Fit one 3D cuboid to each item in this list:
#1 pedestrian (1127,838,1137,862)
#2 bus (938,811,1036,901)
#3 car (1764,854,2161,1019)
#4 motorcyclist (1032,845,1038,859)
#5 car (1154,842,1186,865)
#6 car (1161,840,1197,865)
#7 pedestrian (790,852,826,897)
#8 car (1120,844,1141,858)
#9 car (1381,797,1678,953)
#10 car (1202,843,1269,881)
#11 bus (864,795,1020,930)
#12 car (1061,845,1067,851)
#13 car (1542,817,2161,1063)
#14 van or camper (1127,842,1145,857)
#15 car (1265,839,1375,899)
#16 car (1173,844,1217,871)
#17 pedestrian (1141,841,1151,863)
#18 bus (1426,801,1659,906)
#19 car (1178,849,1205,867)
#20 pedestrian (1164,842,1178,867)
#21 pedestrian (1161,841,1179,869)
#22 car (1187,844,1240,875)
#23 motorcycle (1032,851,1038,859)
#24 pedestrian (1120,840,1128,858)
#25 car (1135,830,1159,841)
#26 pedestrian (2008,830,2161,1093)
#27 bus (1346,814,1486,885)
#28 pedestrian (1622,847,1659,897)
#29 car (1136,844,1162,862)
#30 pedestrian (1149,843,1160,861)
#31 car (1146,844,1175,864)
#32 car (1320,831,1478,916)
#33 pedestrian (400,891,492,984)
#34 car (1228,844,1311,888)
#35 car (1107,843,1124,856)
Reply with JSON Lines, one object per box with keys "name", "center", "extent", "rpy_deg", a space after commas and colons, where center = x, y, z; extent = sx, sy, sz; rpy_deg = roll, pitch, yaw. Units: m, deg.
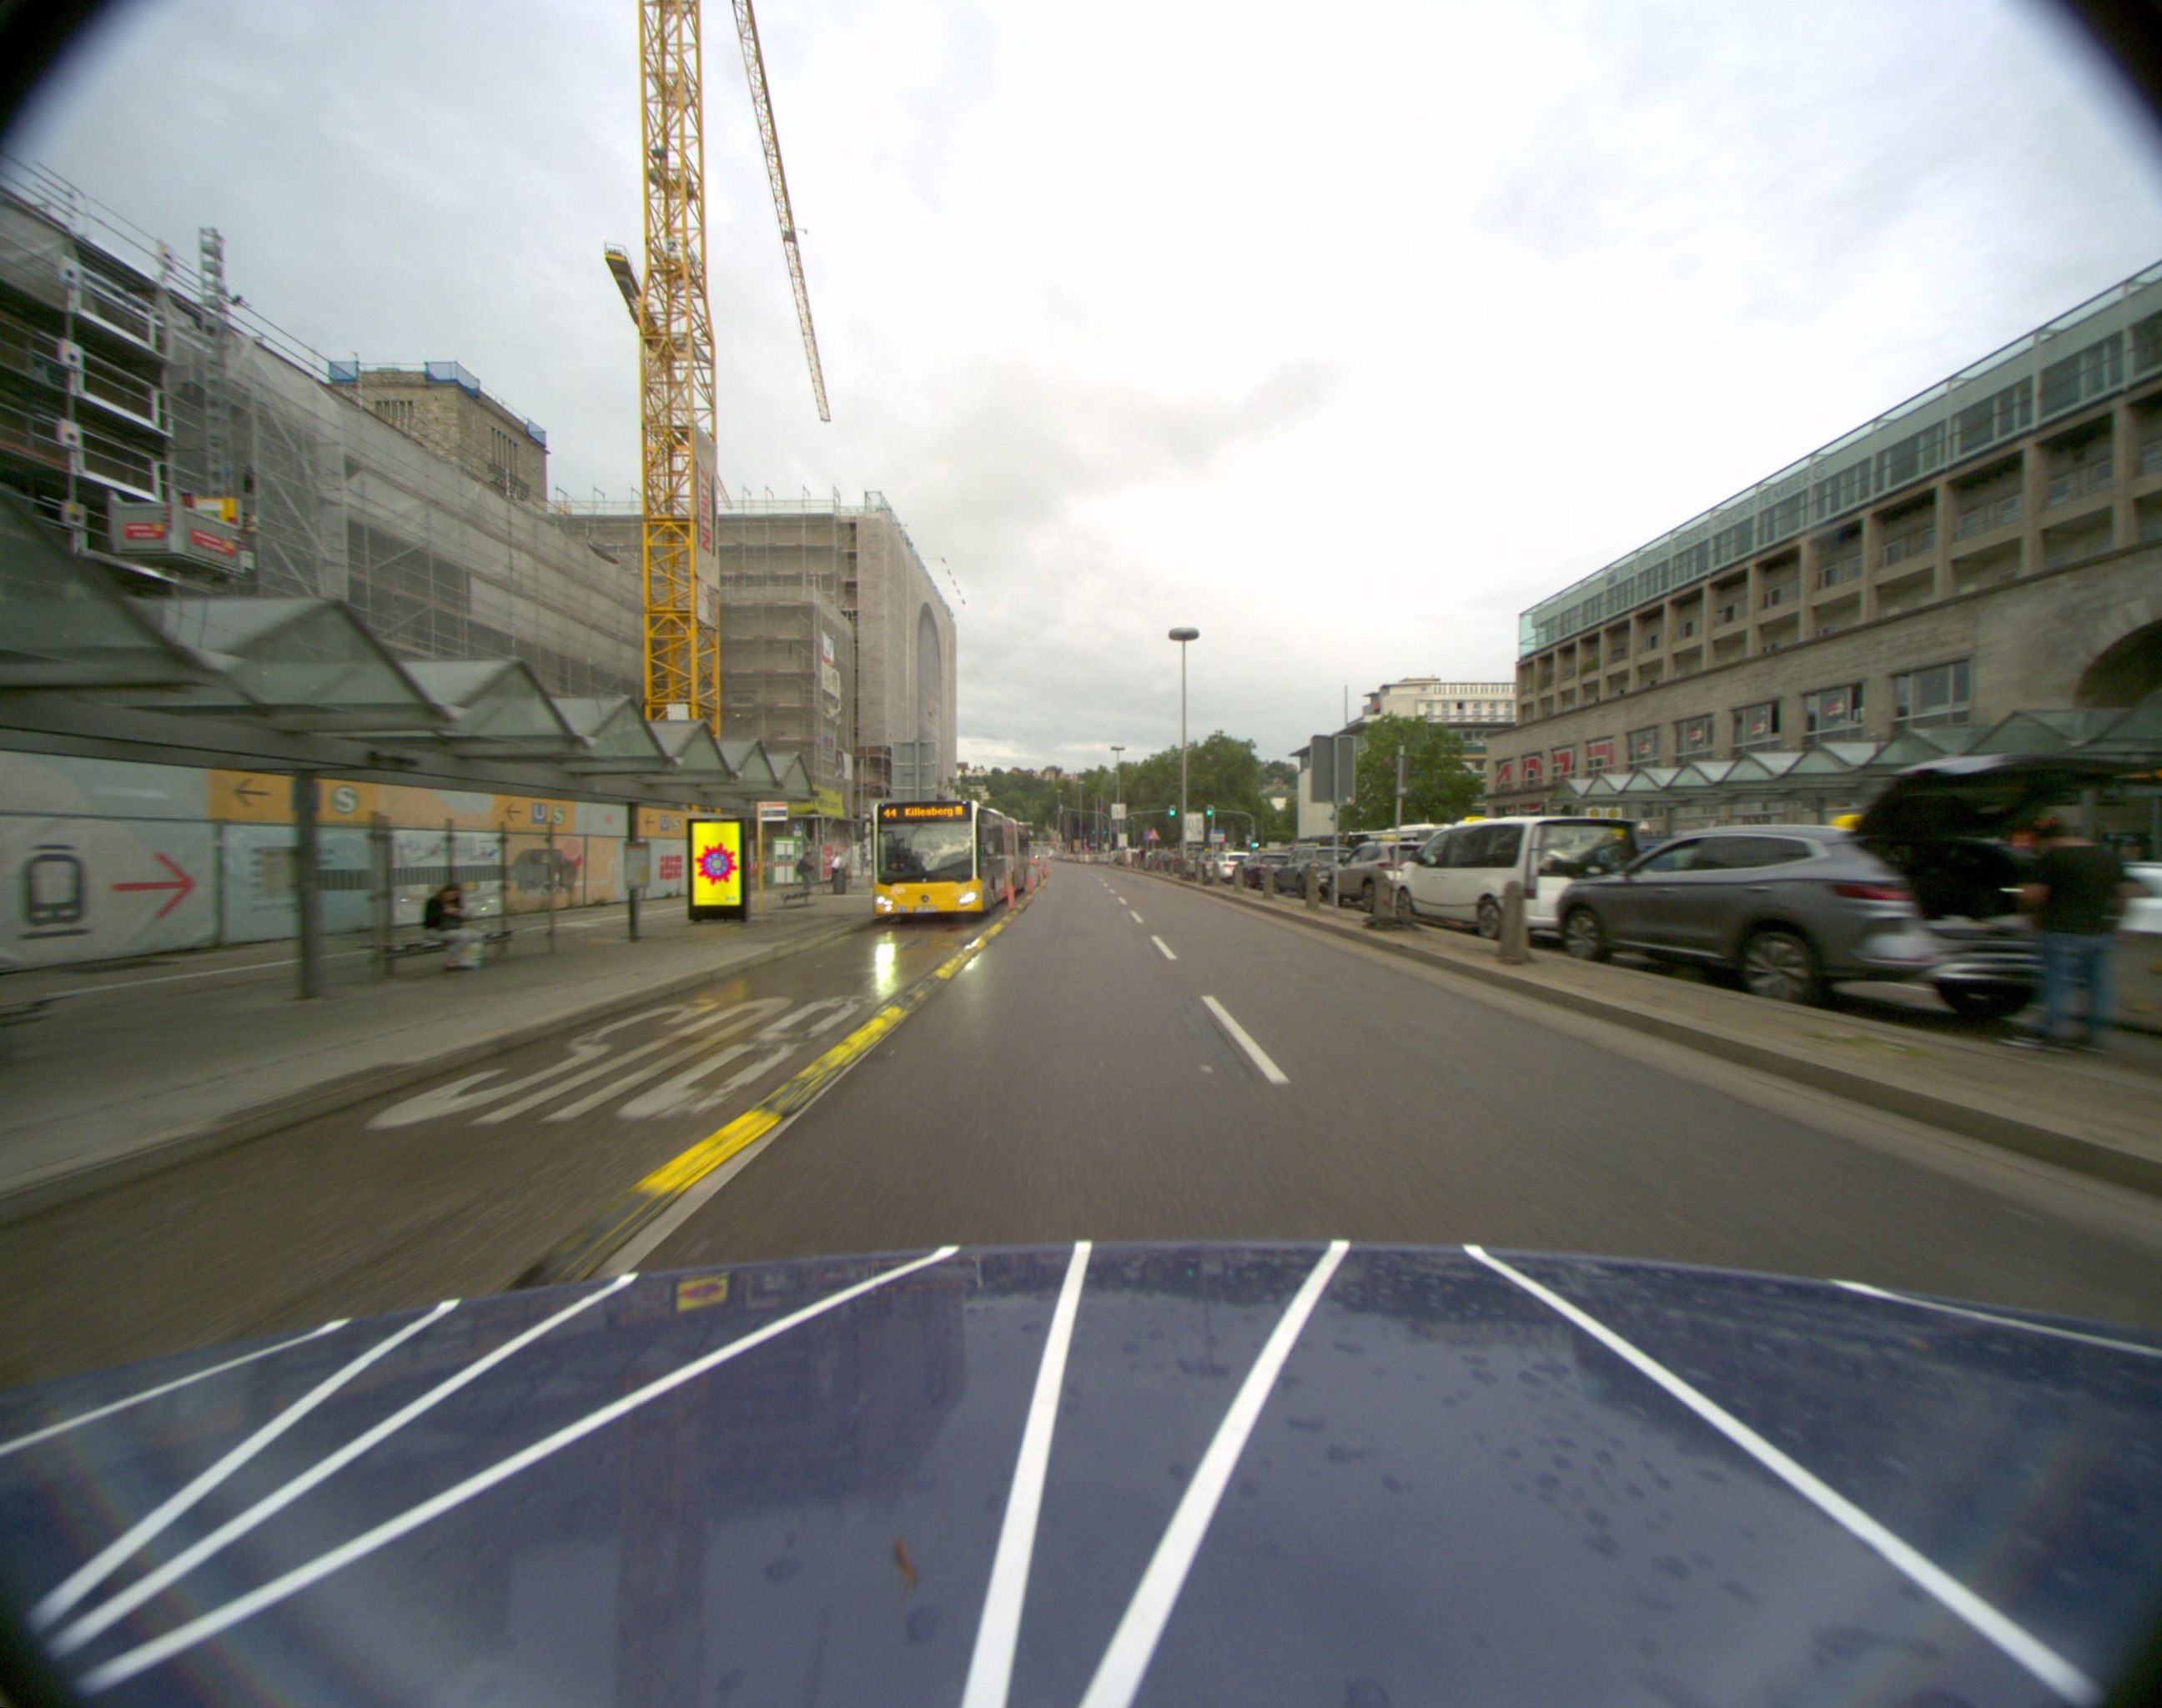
{"name": "pedestrian", "center": [4.232, -0.314, 63.433], "extent": [0.725, 1.996, 0.772], "rpy_deg": [-2, 1, -1]}
{"name": "bus", "center": [-3.543, 0.005, 31.078], "extent": [2.762, 3.051, 9.078], "rpy_deg": [-2, 1, 0]}
{"name": "car", "center": [11.245, 0.814, 8.971], "extent": [1.967, 1.555, 4.835], "rpy_deg": [2, 0, 0]}
{"name": "motorcyclist", "center": [-6.634, -0.263, 109.442], "extent": [0.726, 2.024, 0.587], "rpy_deg": [0, 0, -7]}
{"name": "car", "center": [7.045, -0.074, 60.634], "extent": [1.935, 1.681, 4.681], "rpy_deg": [1, 1, -1]}
{"name": "car", "center": [7.088, -0.124, 55.480], "extent": [1.935, 1.681, 4.681], "rpy_deg": [1, 1, -1]}
{"name": "pedestrian", "center": [-10.230, 0.754, 28.483], "extent": [0.907, 1.626, 0.829], "rpy_deg": [0, 1, 27]}
{"name": "car", "center": [6.012, -0.345, 92.564], "extent": [1.908, 1.689, 4.498], "rpy_deg": [-2, 0, -3]}
{"name": "car", "center": [7.327, 0.277, 13.339], "extent": [1.998, 2.166, 5.543], "rpy_deg": [0, 1, 1]}
{"name": "car", "center": [7.215, 0.330, 36.072], "extent": [1.981, 1.650, 5.191], "rpy_deg": [1, 1, -1]}
{"name": "bus", "center": [-3.560, 0.127, 22.022], "extent": [2.762, 3.048, 8.991], "rpy_deg": [-2, 1, 0]}
{"name": "car", "center": [-4.486, -1.512, 201.734], "extent": [1.682, 1.533, 3.173], "rpy_deg": [0, -1, 0]}
{"name": "car", "center": [7.079, 0.584, 7.688], "extent": [1.998, 1.712, 4.782], "rpy_deg": [0, 1, 1]}
{"name": "van or camper", "center": [9.616, -0.777, 132.277], "extent": [2.000, 2.499, 5.366], "rpy_deg": [2, 0, -7]}
{"name": "car", "center": [7.471, 0.394, 24.322], "extent": [1.934, 1.689, 4.884], "rpy_deg": [1, 1, 0]}
{"name": "car", "center": [7.280, 0.185, 48.918], "extent": [1.935, 1.567, 5.259], "rpy_deg": [1, 1, -1]}
{"name": "pedestrian", "center": [5.354, -0.177, 62.537], "extent": [0.700, 1.744, 0.711], "rpy_deg": [-1, 1, -1]}
{"name": "bus", "center": [17.651, -0.062, 30.367], "extent": [2.884, 3.440, 10.572], "rpy_deg": [-1, 1, 0]}
{"name": "car", "center": [10.962, 0.331, 75.700], "extent": [1.935, 1.681, 4.681], "rpy_deg": [1, 1, -1]}
{"name": "pedestrian", "center": [5.875, 0.012, 49.536], "extent": [0.724, 1.597, 0.996], "rpy_deg": [-2, 1, -1]}
{"name": "pedestrian", "center": [5.640, 0.080, 48.124], "extent": [1.053, 1.758, 0.616], "rpy_deg": [-1, 1, -1]}
{"name": "car", "center": [7.295, 0.275, 42.223], "extent": [1.935, 1.567, 5.010], "rpy_deg": [1, 1, -1]}
{"name": "motorcycle", "center": [-6.635, 0.160, 109.504], "extent": [0.730, 1.221, 2.159], "rpy_deg": [0, -1, -7]}
{"name": "pedestrian", "center": [4.109, -0.489, 72.725], "extent": [0.653, 1.701, 0.593], "rpy_deg": [-2, 1, -2]}
{"name": "car", "center": [13.873, -3.879, 160.185], "extent": [4.830, 2.002, 2.036], "rpy_deg": [-2, 0, 1]}
{"name": "pedestrian", "center": [7.086, 0.666, 5.105], "extent": [0.762, 1.643, 0.763], "rpy_deg": [0, 1, 1]}
{"name": "bus", "center": [17.562, -0.245, 40.952], "extent": [2.884, 3.357, 10.572], "rpy_deg": [0, 1, 0]}
{"name": "pedestrian", "center": [19.594, 0.628, 26.631], "extent": [0.625, 1.715, 0.856], "rpy_deg": [-2, 1, 1]}
{"name": "car", "center": [6.476, -0.095, 72.763], "extent": [2.020, 1.611, 4.841], "rpy_deg": [-1, 0, -1]}
{"name": "pedestrian", "center": [7.159, -0.185, 74.008], "extent": [0.784, 1.765, 0.606], "rpy_deg": [2, 1, -12]}
{"name": "car", "center": [6.915, -0.027, 66.791], "extent": [1.935, 1.681, 4.681], "rpy_deg": [1, 1, -1]}
{"name": "car", "center": [7.538, 0.383, 18.584], "extent": [1.934, 1.796, 4.581], "rpy_deg": [1, 1, 1]}
{"name": "pedestrian", "center": [-8.563, 1.114, 10.273], "extent": [0.666, 1.180, 0.666], "rpy_deg": [0, 1, 1]}
{"name": "car", "center": [7.362, 0.413, 30.286], "extent": [1.935, 1.567, 5.050], "rpy_deg": [1, 1, -1]}
{"name": "car", "center": [4.997, -0.666, 110.876], "extent": [1.920, 1.840, 4.564], "rpy_deg": [0, 0, -4]}
